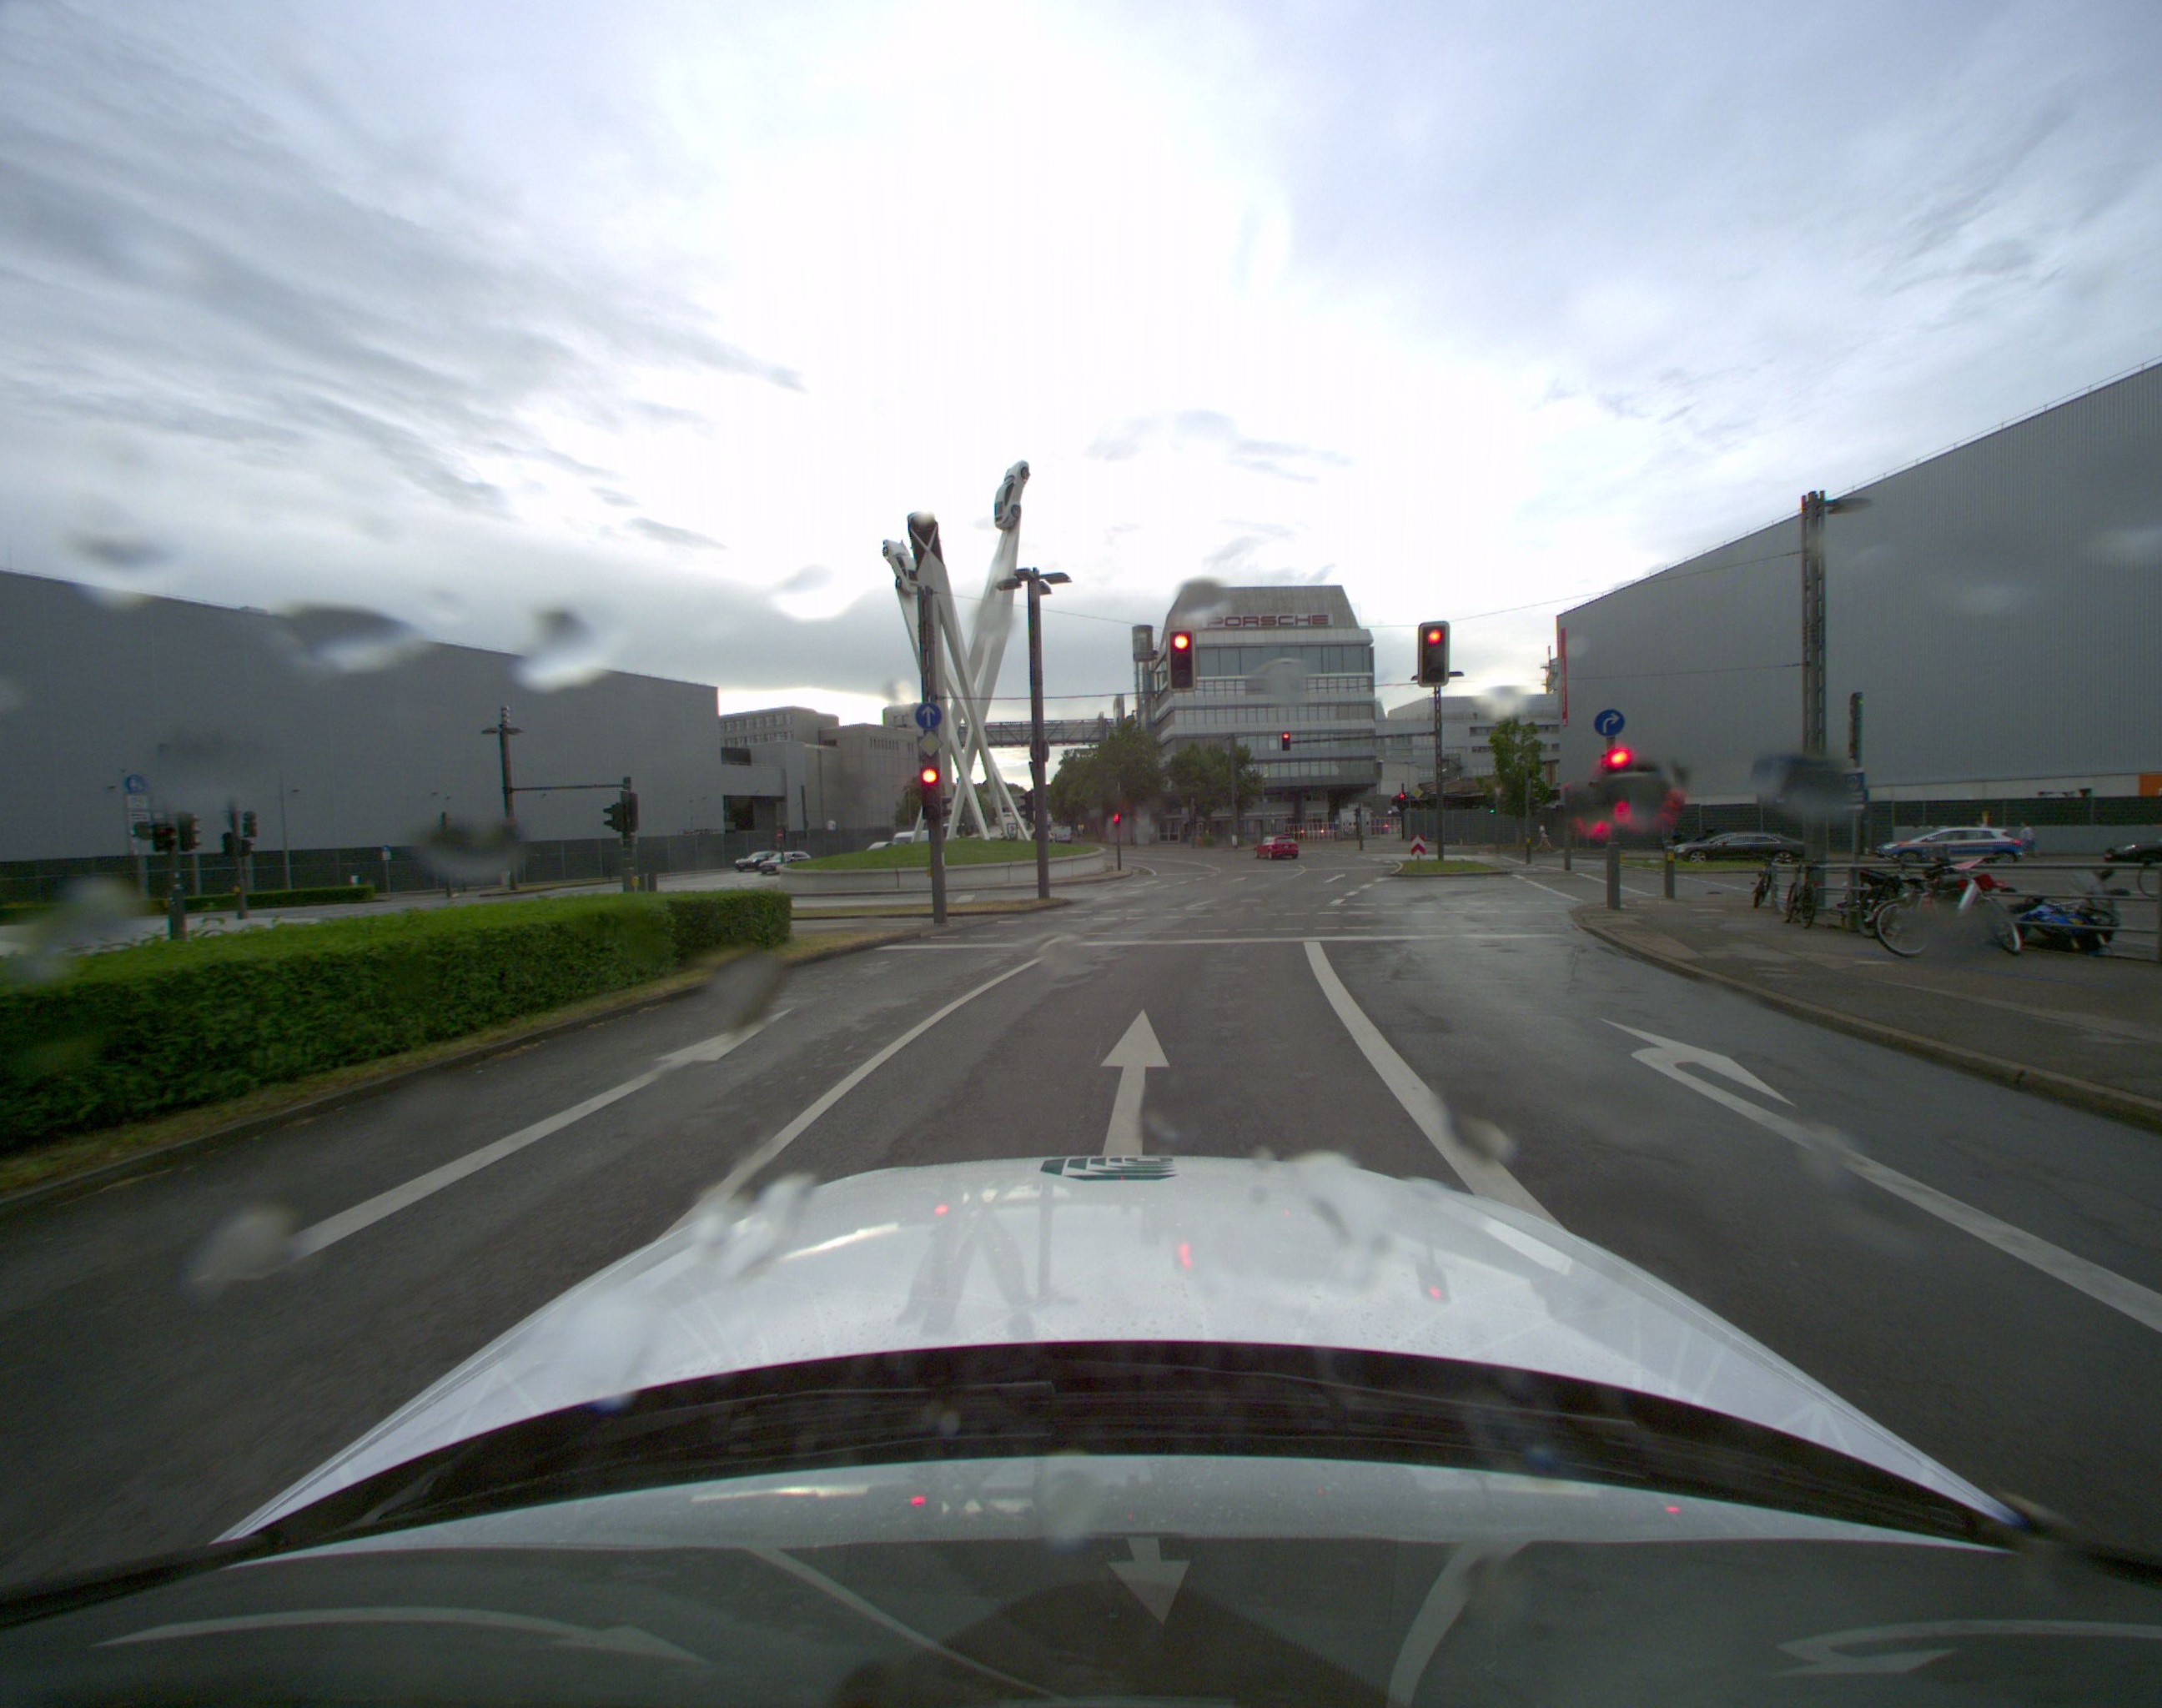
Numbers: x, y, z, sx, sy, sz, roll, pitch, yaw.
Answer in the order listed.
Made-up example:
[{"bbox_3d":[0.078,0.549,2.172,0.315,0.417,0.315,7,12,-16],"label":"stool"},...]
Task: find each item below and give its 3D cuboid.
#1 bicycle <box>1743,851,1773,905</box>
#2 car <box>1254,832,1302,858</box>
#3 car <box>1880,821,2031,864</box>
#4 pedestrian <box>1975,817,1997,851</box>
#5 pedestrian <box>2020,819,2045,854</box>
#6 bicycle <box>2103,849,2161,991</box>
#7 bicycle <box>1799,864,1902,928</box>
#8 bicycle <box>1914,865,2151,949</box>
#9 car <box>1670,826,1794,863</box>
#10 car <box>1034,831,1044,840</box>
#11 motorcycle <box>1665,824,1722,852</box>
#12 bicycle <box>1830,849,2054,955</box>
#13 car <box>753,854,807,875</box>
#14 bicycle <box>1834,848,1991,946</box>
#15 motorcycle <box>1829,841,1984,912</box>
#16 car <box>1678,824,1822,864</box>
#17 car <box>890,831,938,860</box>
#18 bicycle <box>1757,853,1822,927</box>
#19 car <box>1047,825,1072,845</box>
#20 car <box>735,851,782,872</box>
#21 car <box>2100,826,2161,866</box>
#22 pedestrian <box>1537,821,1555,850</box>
[{"bbox_3d":[14.886,0.506,17.895,0.381,1.097,1.761,-2,0,43],"label":"bicycle"},{"bbox_3d":[12.317,-0.530,51.096,1.771,1.464,3.724,-2,-1,-6],"label":"car"},{"bbox_3d":[35.057,-0.466,32.812,3.930,1.601,1.924,0,2,40],"label":"car"},{"bbox_3d":[39.703,-0.871,35.747,0.426,1.481,0.606,-2,0,-44],"label":"pedestrian"},{"bbox_3d":[40.328,-0.730,34.525,0.642,1.481,0.442,-1,0,43],"label":"pedestrian"},{"bbox_3d":[9.838,0.513,6.803,1.794,1.161,0.592,-3,-1,1],"label":"bicycle"},{"bbox_3d":[12.020,0.627,12.780,0.527,0.905,1.823,-2,0,22],"label":"bicycle"},{"bbox_3d":[11.758,0.614,10.204,0.688,0.905,2.180,-1,0,10],"label":"bicycle"},{"bbox_3d":[29.159,-0.428,36.577,4.244,1.539,1.769,1,2,40],"label":"car"},{"bbox_3d":[-6.657,-2.912,130.021,1.553,1.288,3.410,-2,-1,-2],"label":"car"},{"bbox_3d":[31.794,-0.820,42.269,2.329,1.344,0.657,-1,1,38],"label":"motorcycle"},{"bbox_3d":[9.980,0.549,9.493,1.761,1.140,0.679,-2,-1,5],"label":"bicycle"},{"bbox_3d":[-21.594,0.719,58.603,1.834,1.338,4.012,-2,0,11],"label":"car"},{"bbox_3d":[10.825,0.525,10.705,0.382,1.162,2.008,-2,-1,13],"label":"bicycle"},{"bbox_3d":[17.597,0.488,17.432,2.209,1.452,0.760,-1,0,21],"label":"motorcycle"},{"bbox_3d":[27.585,-0.418,33.736,4.526,1.539,1.769,1,2,40],"label":"car"},{"bbox_3d":[-14.579,-0.762,71.553,1.980,2.447,5.446,-2,1,13],"label":"car"},{"bbox_3d":[11.550,0.555,13.315,0.381,1.119,1.761,-2,0,28],"label":"bicycle"},{"bbox_3d":[-2.681,-2.302,99.080,2.233,2.108,4.936,-2,-1,-11],"label":"car"},{"bbox_3d":[-25.074,0.554,63.545,1.827,1.472,4.513,-2,0,0],"label":"car"},{"bbox_3d":[39.771,-0.300,29.082,3.949,1.392,1.769,1,2,40],"label":"car"},{"bbox_3d":[26.916,-1.055,47.162,0.800,1.611,0.774,-2,-1,27],"label":"pedestrian"}]
